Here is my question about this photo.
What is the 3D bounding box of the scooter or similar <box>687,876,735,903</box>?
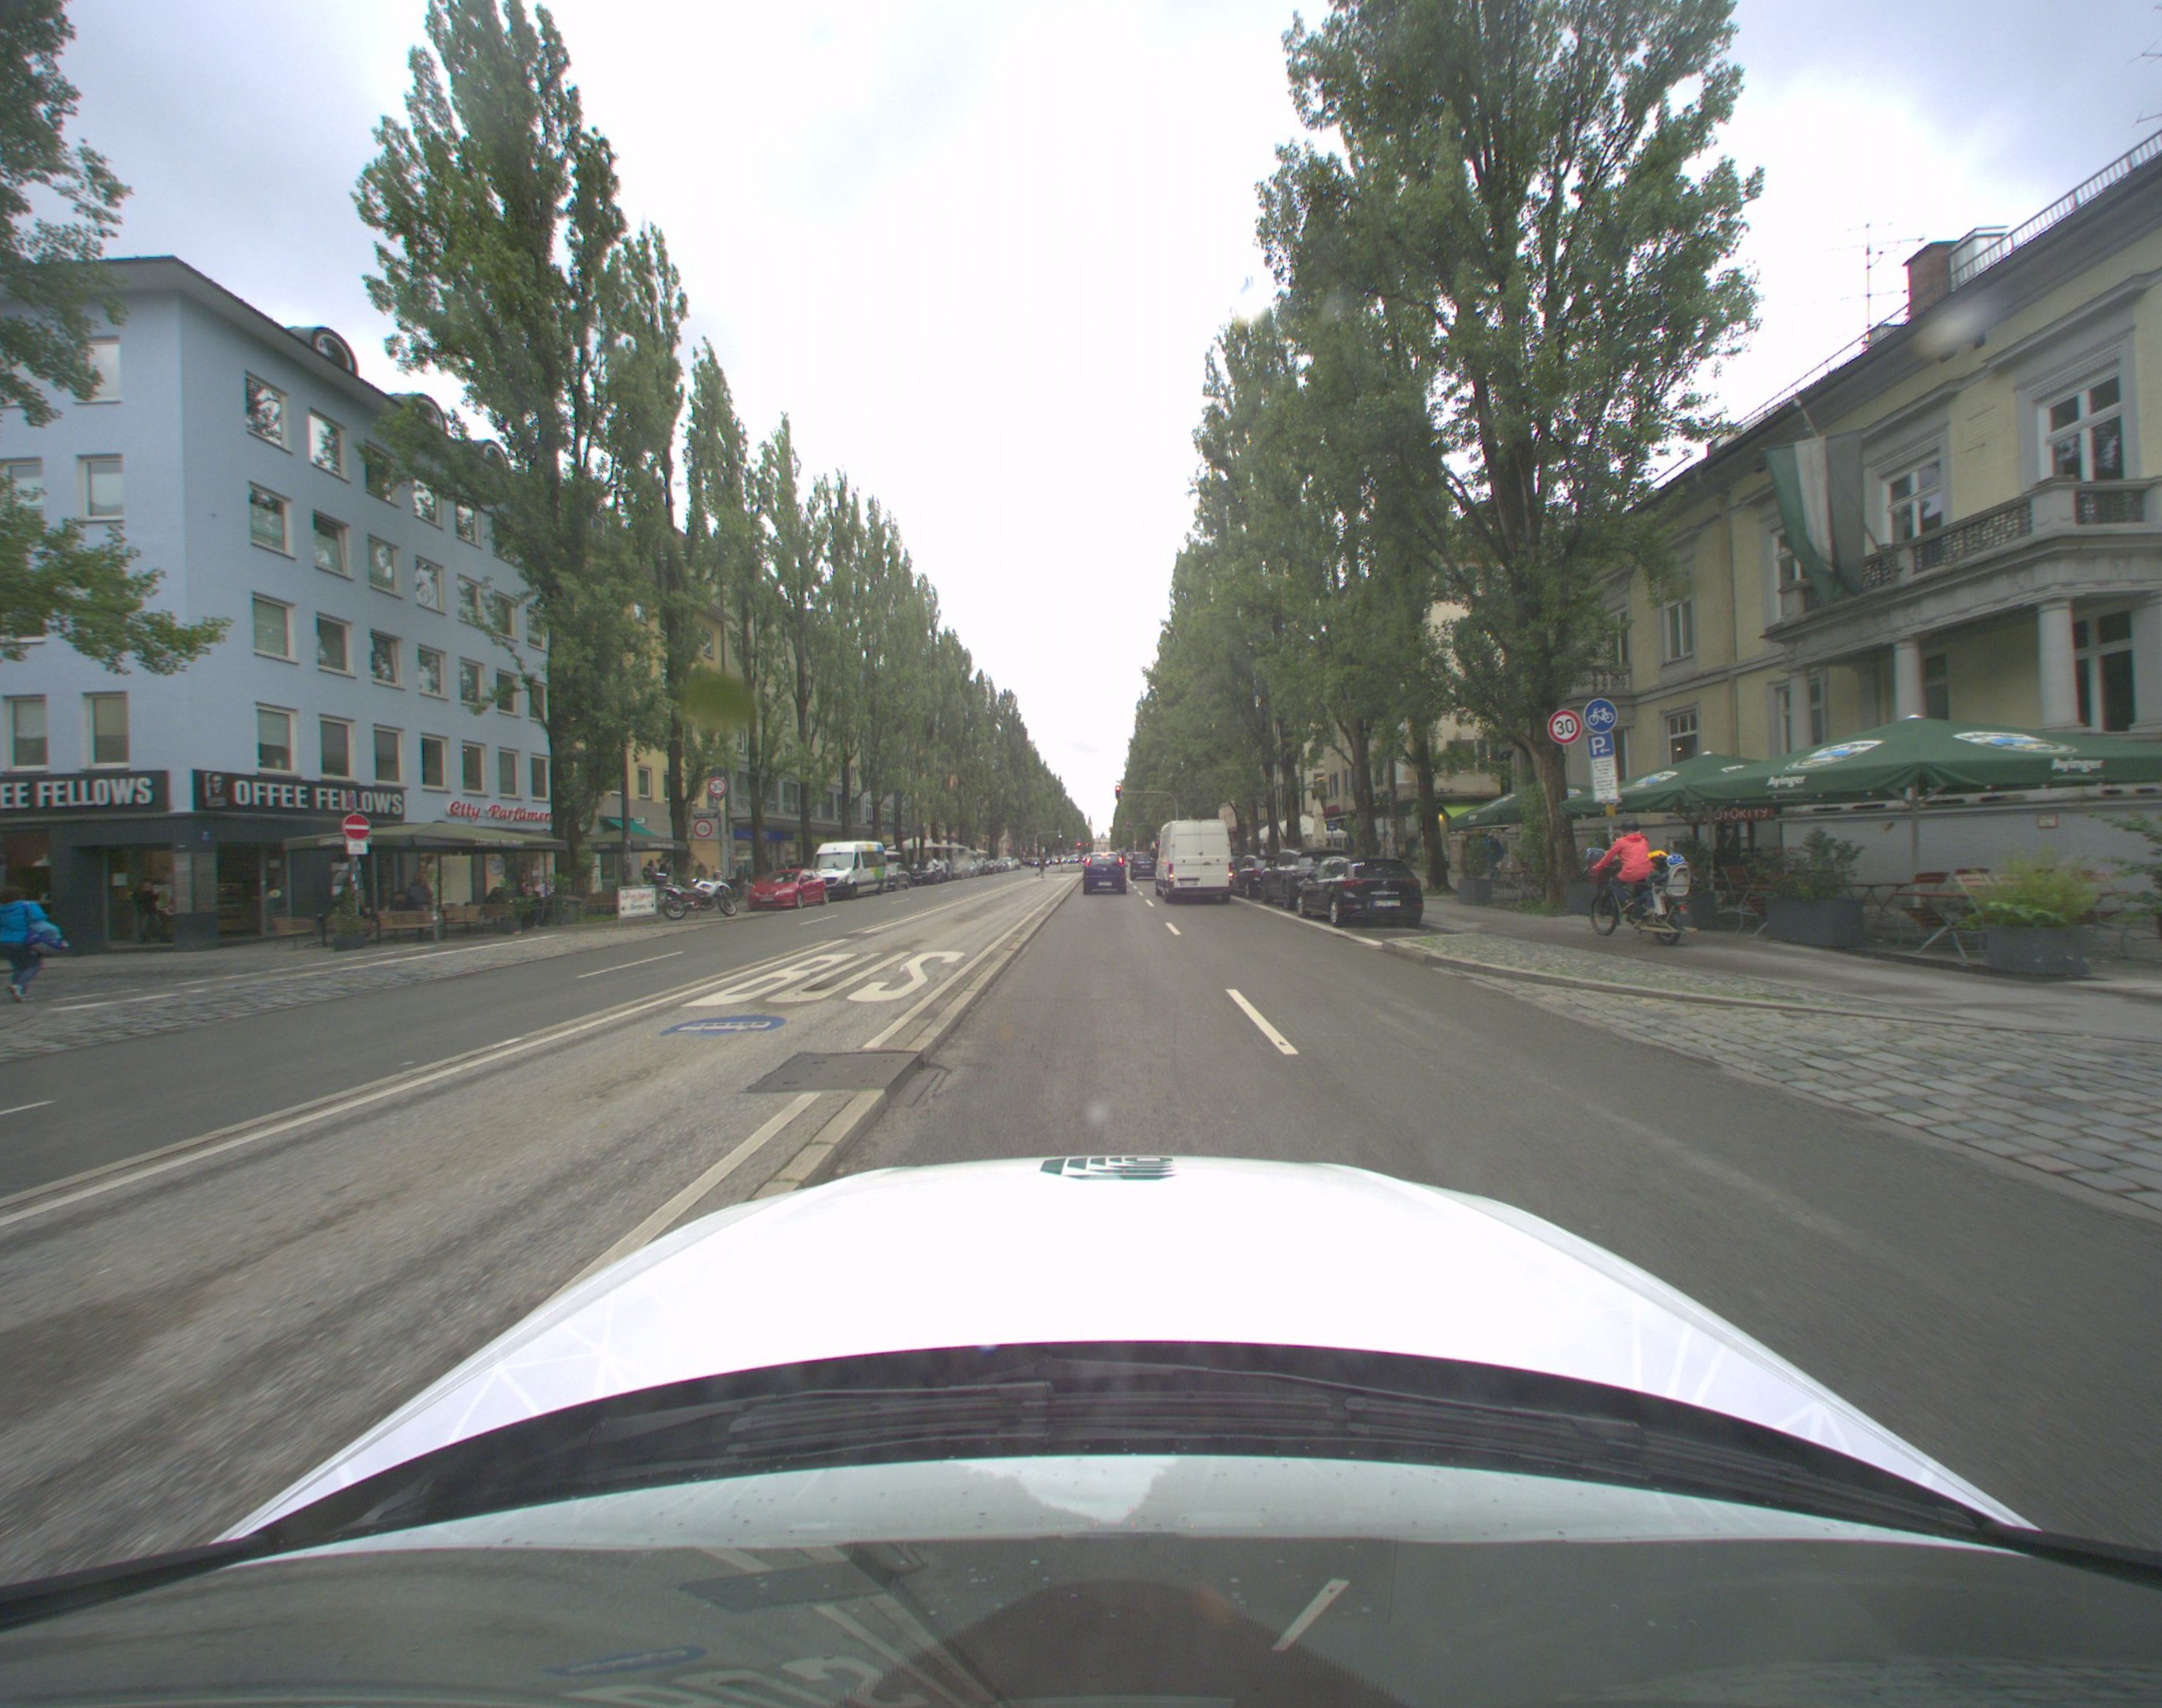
[{"bbox_3d":[-15.363,1.479,33.847,1.768,1.026,0.421,-2,0,-2],"label":"scooter or similar"}]

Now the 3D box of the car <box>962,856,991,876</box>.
[{"bbox_3d":[-9.488,1.073,74.315,1.859,1.665,4.402,-3,0,1],"label":"car"}]

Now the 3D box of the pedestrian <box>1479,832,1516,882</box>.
[{"bbox_3d":[14.456,0.088,28.267,0.794,1.677,0.877,-2,0,1],"label":"pedestrian"}]

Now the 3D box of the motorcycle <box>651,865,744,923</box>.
[{"bbox_3d":[-11.235,1.135,23.907,2.360,1.563,0.706,-1,0,-41],"label":"motorcycle"}]

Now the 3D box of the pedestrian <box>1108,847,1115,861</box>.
[{"bbox_3d":[4.026,0.054,107.163,0.719,1.827,0.885,0,-1,-9],"label":"pedestrian"}]

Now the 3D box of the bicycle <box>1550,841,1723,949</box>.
[{"bbox_3d":[7.907,0.531,11.779,0.770,1.349,2.450,-5,0,1],"label":"bicycle"}]

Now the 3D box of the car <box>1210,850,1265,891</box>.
[{"bbox_3d":[6.082,0.617,31.881,1.587,1.518,2.728,-1,0,-1],"label":"car"}]

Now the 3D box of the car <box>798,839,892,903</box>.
[{"bbox_3d":[-10.599,0.697,37.268,1.998,2.567,6.914,-3,0,1],"label":"car"}]

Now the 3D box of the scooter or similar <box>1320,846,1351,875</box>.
[{"bbox_3d":[12.889,0.291,41.263,0.634,1.376,2.493,-3,1,-2],"label":"scooter or similar"}]

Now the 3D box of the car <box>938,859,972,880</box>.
[{"bbox_3d":[-9.762,1.178,63.460,1.792,1.488,4.352,-3,0,1],"label":"car"}]

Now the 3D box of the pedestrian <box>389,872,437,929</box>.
[{"bbox_3d":[-20.513,1.406,25.034,0.753,1.686,0.786,-2,0,4],"label":"pedestrian"}]

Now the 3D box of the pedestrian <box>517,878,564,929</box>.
[{"bbox_3d":[-15.250,1.375,22.995,0.695,1.362,0.848,-2,0,0],"label":"pedestrian"}]

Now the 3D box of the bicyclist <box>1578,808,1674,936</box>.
[{"bbox_3d":[7.899,0.252,11.843,0.764,1.766,0.885,-2,0,1],"label":"bicyclist"}]

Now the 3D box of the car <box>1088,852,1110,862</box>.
[{"bbox_3d":[3.004,0.431,138.003,3.368,1.561,1.728,-2,0,-22],"label":"car"}]

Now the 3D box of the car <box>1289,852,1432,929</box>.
[{"bbox_3d":[5.846,0.692,17.555,1.689,1.416,3.950,-2,0,0],"label":"car"}]

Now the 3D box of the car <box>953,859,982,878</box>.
[{"bbox_3d":[-9.579,1.194,69.025,1.727,1.425,4.145,-3,0,1],"label":"car"}]

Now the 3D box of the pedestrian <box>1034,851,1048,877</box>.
[{"bbox_3d":[-2.630,0.649,53.912,0.857,1.684,0.626,-2,0,-2],"label":"pedestrian"}]

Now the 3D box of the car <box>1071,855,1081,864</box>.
[{"bbox_3d":[-0.868,0.998,150.787,1.728,1.465,3.366,-2,0,1],"label":"car"}]

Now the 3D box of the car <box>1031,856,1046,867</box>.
[{"bbox_3d":[-6.231,1.046,119.438,1.691,1.462,4.714,-3,0,1],"label":"car"}]

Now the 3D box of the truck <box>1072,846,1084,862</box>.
[{"bbox_3d":[-0.598,0.050,180.305,2.374,3.346,7.113,-2,0,1],"label":"truck"}]

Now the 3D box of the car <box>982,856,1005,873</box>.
[{"bbox_3d":[-9.188,1.088,85.870,1.859,1.665,4.121,-3,0,1],"label":"car"}]

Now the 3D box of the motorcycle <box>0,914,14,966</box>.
[{"bbox_3d":[-27.104,2.126,19.264,2.748,1.203,0.739,-3,2,2],"label":"motorcycle"}]

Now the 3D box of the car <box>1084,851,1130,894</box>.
[{"bbox_3d":[1.034,0.681,32.499,1.665,1.568,4.002,-1,0,2],"label":"car"}]

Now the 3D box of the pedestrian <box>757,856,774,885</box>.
[{"bbox_3d":[-19.628,1.023,50.649,0.694,1.795,0.728,-2,0,6],"label":"pedestrian"}]

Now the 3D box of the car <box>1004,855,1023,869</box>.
[{"bbox_3d":[-8.618,1.001,103.933,1.859,1.665,4.121,-3,0,1],"label":"car"}]

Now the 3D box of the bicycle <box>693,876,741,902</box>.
[{"bbox_3d":[-15.399,1.484,34.486,1.768,1.026,0.421,-2,0,-2],"label":"bicycle"}]

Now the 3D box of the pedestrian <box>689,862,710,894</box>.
[{"bbox_3d":[-19.821,1.249,42.336,0.694,1.636,0.727,-2,0,3],"label":"pedestrian"}]

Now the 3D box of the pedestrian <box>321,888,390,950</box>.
[{"bbox_3d":[-17.169,1.522,19.296,0.694,1.362,0.951,-2,0,4],"label":"pedestrian"}]

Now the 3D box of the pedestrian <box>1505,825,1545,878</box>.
[{"bbox_3d":[15.416,-0.077,28.289,0.773,1.796,0.872,-2,0,-16],"label":"pedestrian"}]

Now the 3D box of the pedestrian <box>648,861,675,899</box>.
[{"bbox_3d":[-18.939,1.163,36.779,0.691,1.636,0.731,-2,0,25],"label":"pedestrian"}]

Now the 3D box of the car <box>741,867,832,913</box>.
[{"bbox_3d":[-10.849,1.282,30.332,1.731,1.419,4.149,-3,0,1],"label":"car"}]

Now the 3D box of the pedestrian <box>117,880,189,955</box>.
[{"bbox_3d":[-23.028,1.553,20.229,0.953,1.773,0.693,-2,0,-29],"label":"pedestrian"}]

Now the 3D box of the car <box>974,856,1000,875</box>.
[{"bbox_3d":[-9.338,1.105,81.048,1.859,1.665,4.121,-3,0,1],"label":"car"}]

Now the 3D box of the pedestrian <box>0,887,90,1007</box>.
[{"bbox_3d":[-15.491,1.346,11.973,0.699,1.647,0.945,-2,0,-15],"label":"pedestrian"}]

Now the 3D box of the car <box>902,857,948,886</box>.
[{"bbox_3d":[-10.042,1.113,52.646,1.859,1.664,4.612,-3,0,1],"label":"car"}]

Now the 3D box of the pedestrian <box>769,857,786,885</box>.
[{"bbox_3d":[-18.849,1.058,50.624,0.694,1.700,0.728,-2,0,6],"label":"pedestrian"}]

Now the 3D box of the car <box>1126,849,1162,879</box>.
[{"bbox_3d":[3.649,0.571,47.731,1.889,1.622,4.002,-1,0,2],"label":"car"}]

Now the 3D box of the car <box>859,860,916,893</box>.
[{"bbox_3d":[-10.479,1.193,44.367,1.859,1.552,4.415,-3,0,1],"label":"car"}]

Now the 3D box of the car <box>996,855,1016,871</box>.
[{"bbox_3d":[-8.865,1.036,96.657,1.859,1.665,4.121,-3,0,1],"label":"car"}]

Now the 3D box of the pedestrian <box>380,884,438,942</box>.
[{"bbox_3d":[-16.934,1.468,20.536,0.694,1.362,0.820,-2,0,4],"label":"pedestrian"}]

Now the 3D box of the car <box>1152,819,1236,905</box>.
[{"bbox_3d":[3.608,0.224,27.274,2.055,2.492,6.733,-1,0,2],"label":"car"}]

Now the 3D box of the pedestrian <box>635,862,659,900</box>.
[{"bbox_3d":[-19.358,1.203,36.335,0.691,1.636,0.567,-2,0,25],"label":"pedestrian"}]

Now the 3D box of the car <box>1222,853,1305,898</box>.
[{"bbox_3d":[6.203,0.692,28.129,1.705,1.393,4.339,-1,0,-2],"label":"car"}]

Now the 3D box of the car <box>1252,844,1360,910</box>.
[{"bbox_3d":[6.152,0.578,22.788,1.797,1.637,4.446,-1,0,0],"label":"car"}]

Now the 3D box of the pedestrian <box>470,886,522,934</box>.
[{"bbox_3d":[-15.530,1.475,21.632,0.813,1.182,0.700,-2,0,0],"label":"pedestrian"}]
